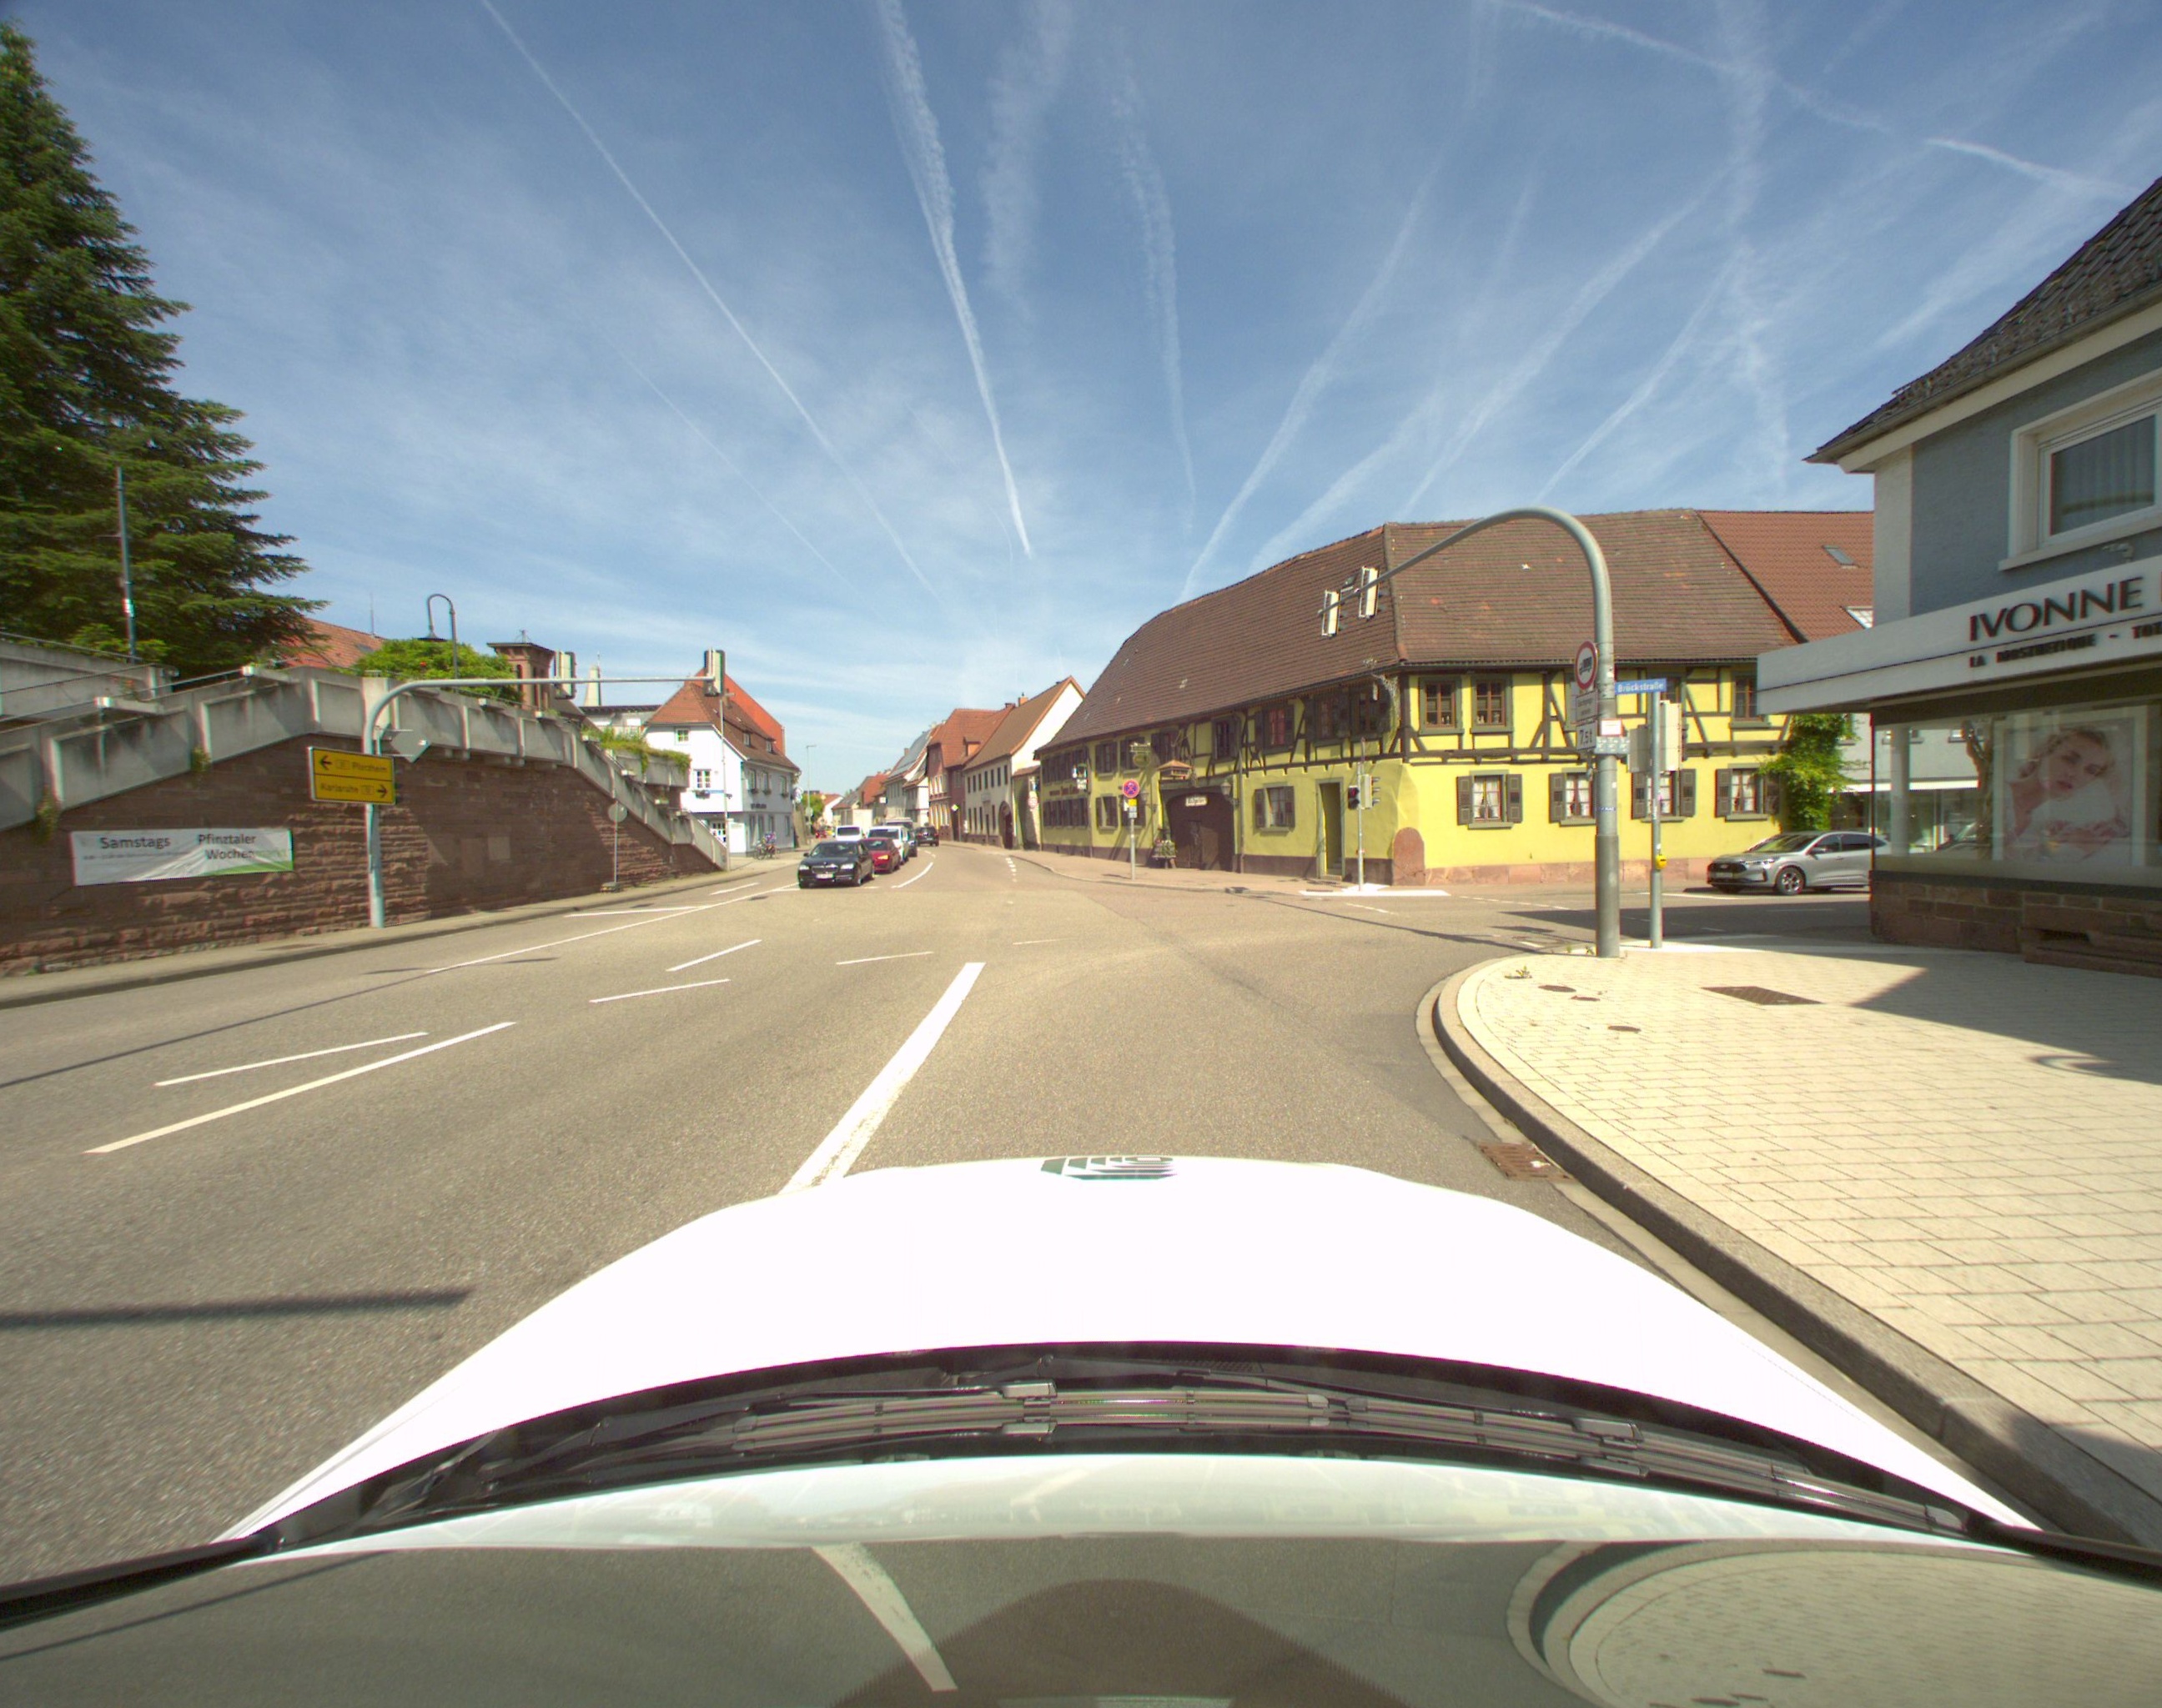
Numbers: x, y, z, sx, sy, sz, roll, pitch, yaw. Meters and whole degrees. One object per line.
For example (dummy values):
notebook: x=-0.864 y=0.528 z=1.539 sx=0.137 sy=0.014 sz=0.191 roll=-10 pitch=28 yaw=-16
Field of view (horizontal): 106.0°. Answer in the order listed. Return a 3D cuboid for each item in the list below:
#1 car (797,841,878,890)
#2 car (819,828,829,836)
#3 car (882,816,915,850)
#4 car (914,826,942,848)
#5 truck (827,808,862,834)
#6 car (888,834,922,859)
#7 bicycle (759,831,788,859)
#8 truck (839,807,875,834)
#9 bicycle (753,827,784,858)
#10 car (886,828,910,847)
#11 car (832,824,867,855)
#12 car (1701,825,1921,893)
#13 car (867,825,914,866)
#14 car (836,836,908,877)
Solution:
car: x=-8.042 y=0.317 z=27.272 sx=1.818 sy=1.434 sz=4.240 roll=-1 pitch=2 yaw=-6
car: x=-43.509 y=-3.733 z=137.851 sx=1.255 sy=1.262 sz=2.809 roll=0 pitch=1 yaw=-27
car: x=-12.576 y=-1.438 z=55.899 sx=1.763 sy=2.245 sz=4.525 roll=0 pitch=1 yaw=-18
car: x=-12.883 y=-1.447 z=68.408 sx=1.825 sy=1.738 sz=3.984 roll=-2 pitch=2 yaw=-16
truck: x=-34.923 y=-4.768 z=119.976 sx=3.176 sy=3.460 sz=10.621 roll=1 pitch=1 yaw=-26
car: x=-10.345 y=-0.458 z=47.699 sx=1.579 sy=1.384 sz=3.538 roll=0 pitch=1 yaw=-19
bicycle: x=-17.894 y=-0.524 z=47.501 sx=0.555 sy=1.607 sz=2.565 roll=1 pitch=1 yaw=3
truck: x=-30.619 y=-4.502 z=111.025 sx=3.239 sy=3.548 sz=9.154 roll=0 pitch=1 yaw=-25
bicycle: x=-18.637 y=-0.687 z=48.638 sx=0.638 sy=1.779 sz=2.673 roll=1 pitch=1 yaw=3
car: x=-15.878 y=-1.482 z=70.590 sx=1.789 sy=1.526 sz=3.984 roll=-2 pitch=2 yaw=-16
car: x=-16.096 y=-1.015 z=56.668 sx=2.142 sy=1.966 sz=5.249 roll=-2 pitch=2 yaw=-16
car: x=18.753 y=0.124 z=21.019 sx=4.409 sy=1.610 sz=1.757 roll=-1 pitch=0 yaw=-7
car: x=-9.409 y=-0.487 z=40.519 sx=1.820 sy=1.906 sz=4.950 roll=-1 pitch=2 yaw=-9
car: x=-8.677 y=0.049 z=34.294 sx=2.156 sy=1.515 sz=4.939 roll=-1 pitch=2 yaw=-5
